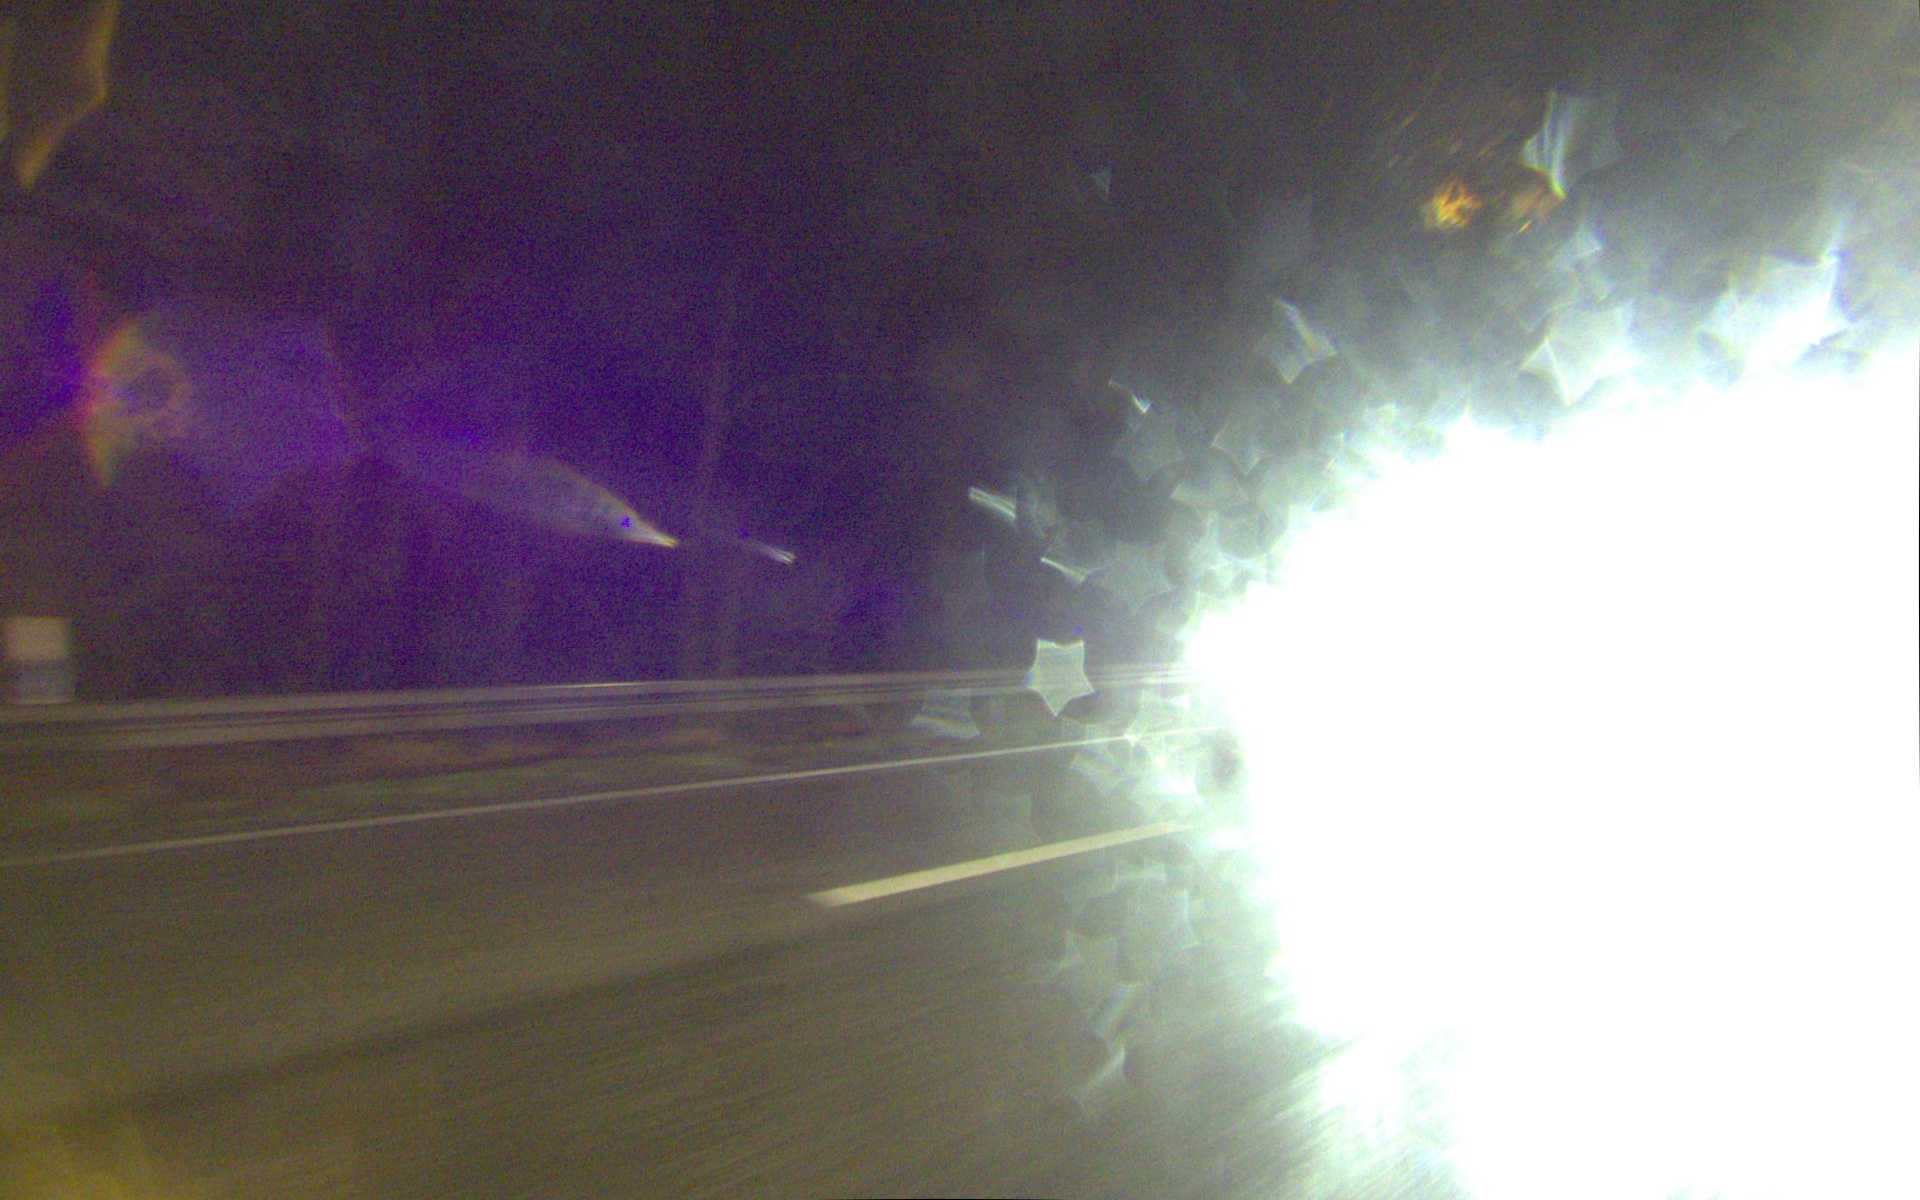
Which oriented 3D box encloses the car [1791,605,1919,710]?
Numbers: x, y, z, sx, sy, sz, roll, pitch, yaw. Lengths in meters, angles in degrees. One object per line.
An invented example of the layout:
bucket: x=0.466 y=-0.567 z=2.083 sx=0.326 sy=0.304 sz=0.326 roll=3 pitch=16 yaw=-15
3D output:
car: x=15.282 y=0.862 z=16.577 sx=4.487 sy=1.503 sz=1.825 roll=1 pitch=0 yaw=-41

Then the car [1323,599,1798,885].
car: x=4.621 y=0.752 z=7.430 sx=4.644 sy=1.467 sz=1.734 roll=1 pitch=-1 yaw=-42
